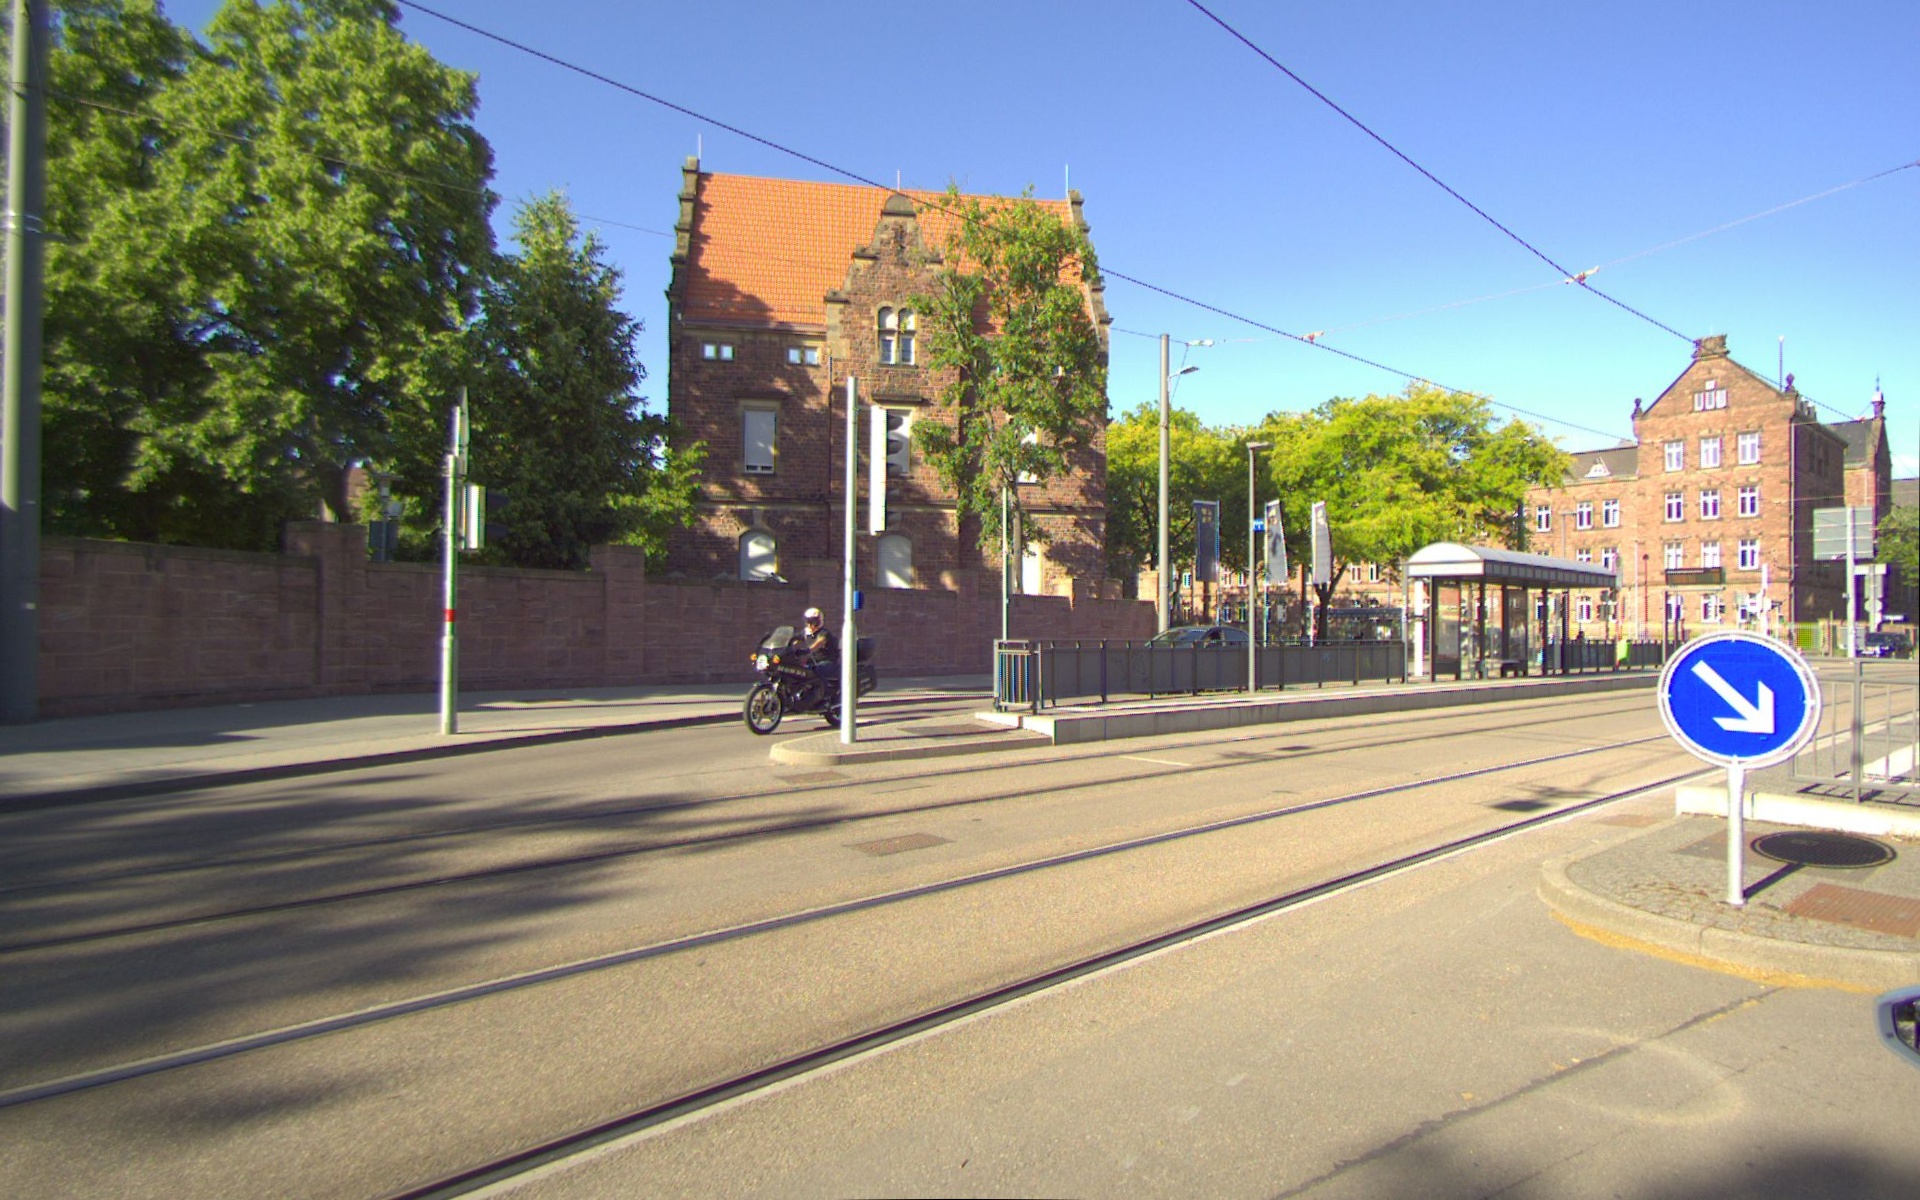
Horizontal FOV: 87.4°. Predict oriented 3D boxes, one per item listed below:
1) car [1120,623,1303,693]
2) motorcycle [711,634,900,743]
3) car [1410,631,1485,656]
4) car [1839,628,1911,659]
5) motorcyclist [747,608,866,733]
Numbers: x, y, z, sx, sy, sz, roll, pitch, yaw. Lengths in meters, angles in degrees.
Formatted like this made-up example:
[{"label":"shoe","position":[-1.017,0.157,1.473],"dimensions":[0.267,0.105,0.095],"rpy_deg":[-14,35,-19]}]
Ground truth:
[{"label":"car","position":[5.643,1.299,22.400],"dimensions":[3.945,1.421,1.843],"rpy_deg":[2,-5,-36]},{"label":"motorcycle","position":[-1.971,1.096,13.317],"dimensions":[1.113,1.260,2.569],"rpy_deg":[1,-1,30]},{"label":"car","position":[32.046,2.829,66.078],"dimensions":[1.860,1.542,4.035],"rpy_deg":[2,-2,-37]},{"label":"car","position":[53.136,2.528,58.338],"dimensions":[4.306,1.699,1.898],"rpy_deg":[1,-1,-30]},{"label":"motorcyclist","position":[-2.013,0.900,13.241],"dimensions":[1.108,1.545,1.053],"rpy_deg":[1,-1,30]}]
